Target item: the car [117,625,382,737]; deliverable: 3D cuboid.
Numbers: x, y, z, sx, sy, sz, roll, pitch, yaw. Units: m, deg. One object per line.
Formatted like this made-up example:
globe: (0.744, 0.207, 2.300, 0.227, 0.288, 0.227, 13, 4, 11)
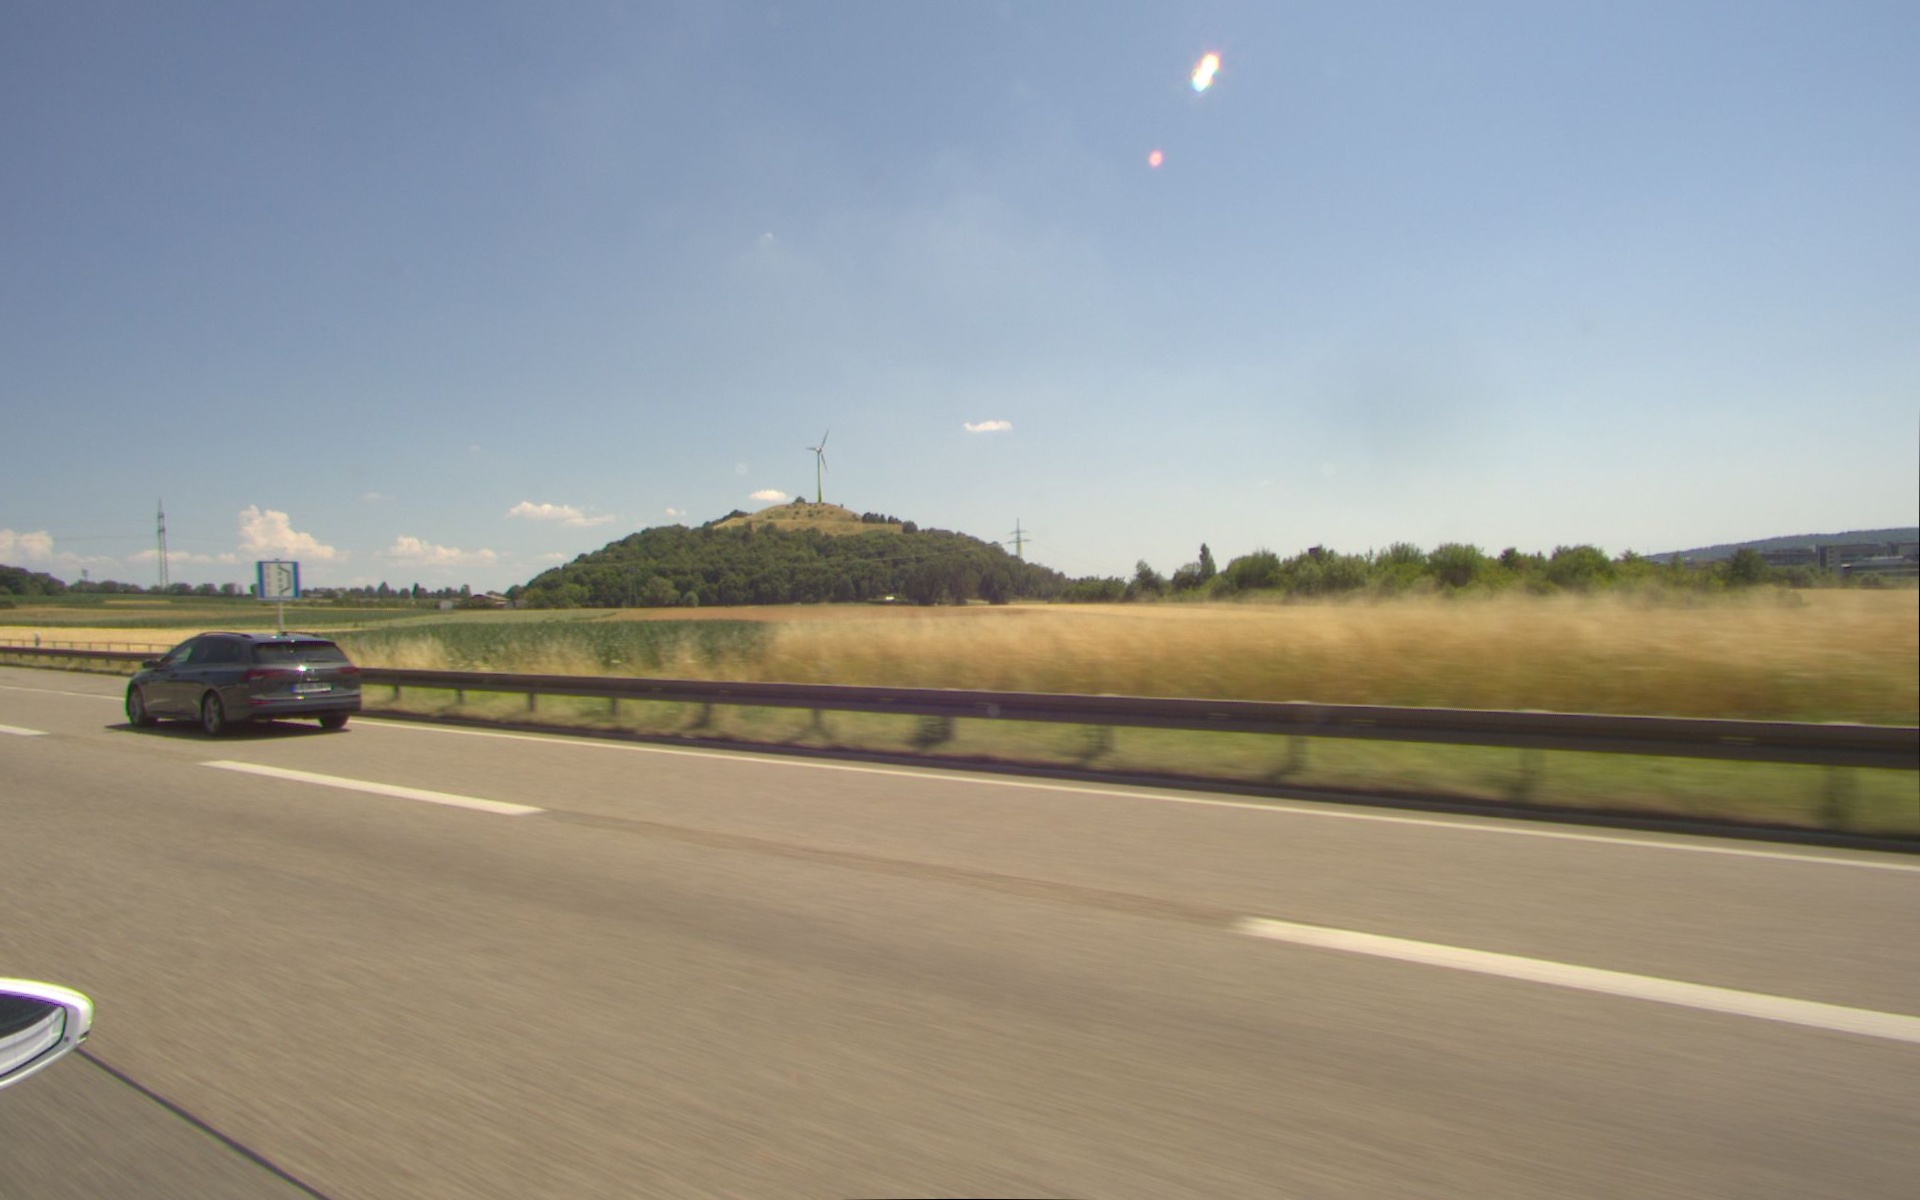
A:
car: (-10.925, 1.168, 15.325, 4.472, 1.489, 1.758, -2, -2, 32)
